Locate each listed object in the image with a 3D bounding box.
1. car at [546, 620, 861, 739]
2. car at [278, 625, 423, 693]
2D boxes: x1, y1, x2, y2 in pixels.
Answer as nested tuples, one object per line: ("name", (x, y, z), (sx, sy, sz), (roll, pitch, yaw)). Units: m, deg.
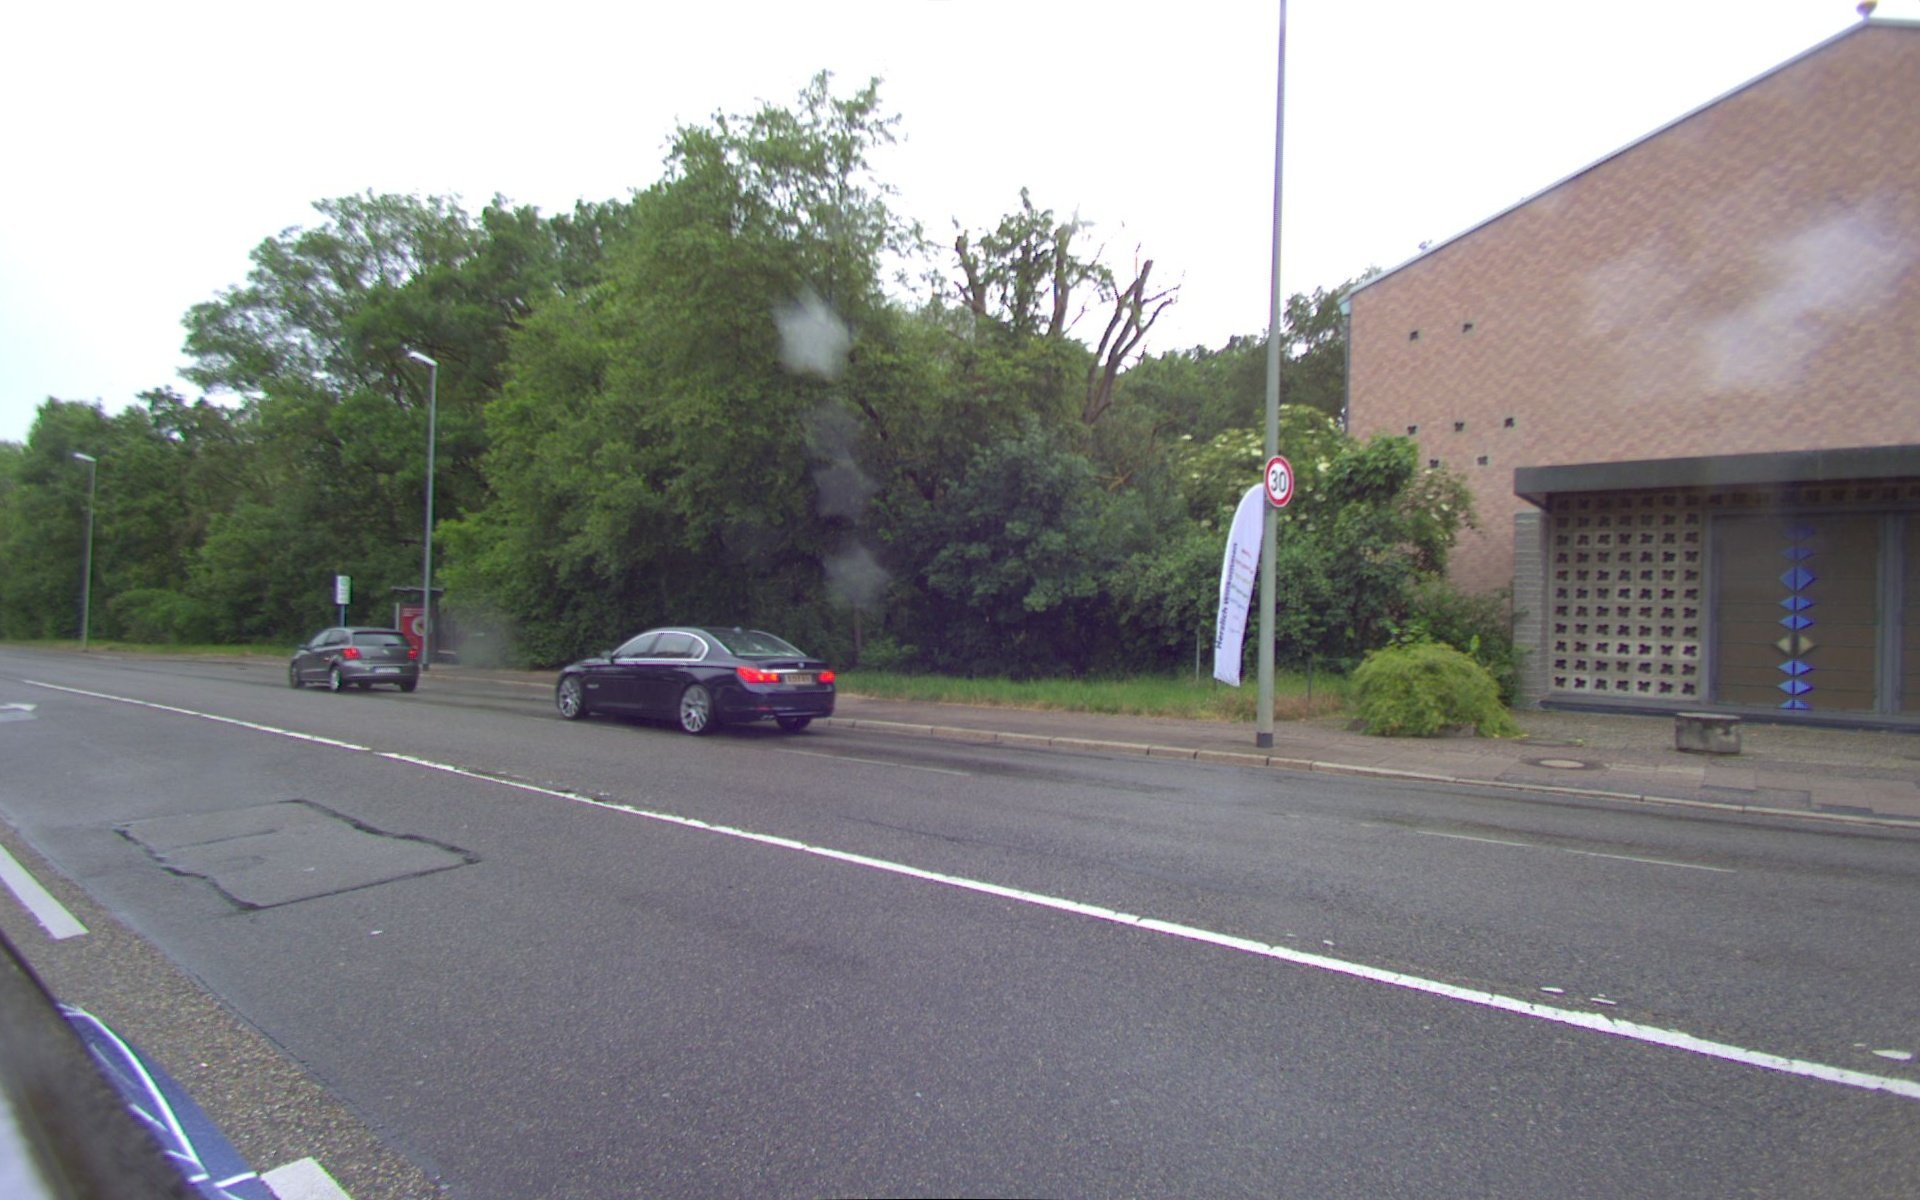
("car", (-3.906, 1.100, 14.912), (4.944, 1.465, 1.891), (-1, -5, 40))
("car", (-14.000, 1.314, 23.178), (3.901, 1.440, 1.578), (-1, -3, 39))
